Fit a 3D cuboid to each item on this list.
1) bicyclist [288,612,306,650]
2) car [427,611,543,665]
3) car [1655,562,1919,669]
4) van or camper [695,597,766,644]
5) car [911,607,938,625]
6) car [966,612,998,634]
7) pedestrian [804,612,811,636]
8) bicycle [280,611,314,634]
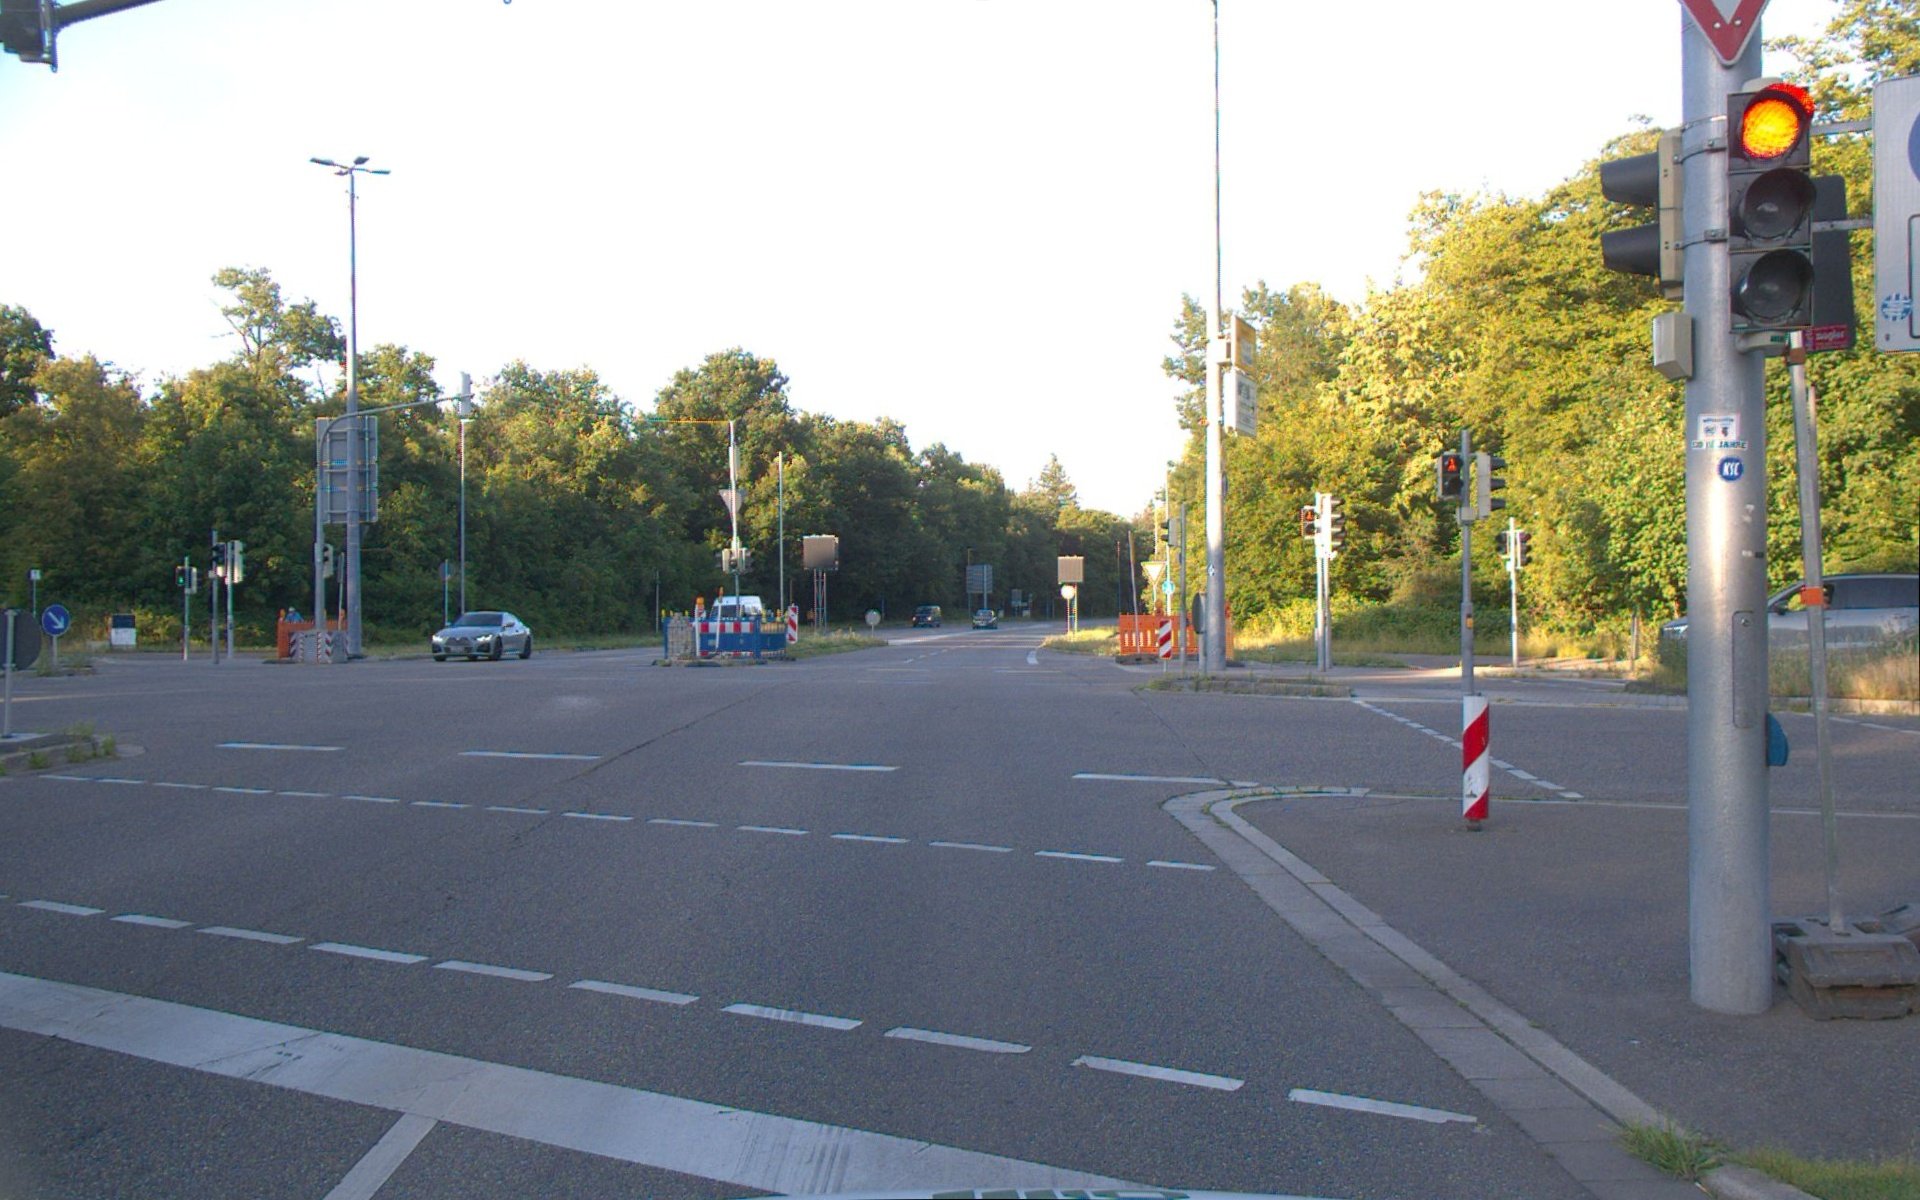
[{"bbox_3d":[-24.885,1.170,62.055,0.515,1.411,0.401,0,0,-42],"label":"bicyclist"},{"bbox_3d":[-13.789,1.064,48.312,1.851,1.466,4.502,0,0,3],"label":"car"},{"bbox_3d":[13.742,0.244,26.489,4.716,1.626,2.000,-1,0,21],"label":"car"},{"bbox_3d":[-13.521,1.166,97.845,2.825,2.699,7.125,0,0,3],"label":"van or camper"},{"bbox_3d":[-3.312,1.537,156.848,1.951,1.668,4.003,0,0,8],"label":"car"},{"bbox_3d":[1.884,1.884,138.326,1.951,1.668,4.004,-2,1,11],"label":"car"},{"bbox_3d":[-12.934,2.030,140.449,0.511,2.049,0.600,1,-1,-1],"label":"pedestrian"},{"bbox_3d":[-24.881,0.830,62.061,1.096,0.840,0.407,0,0,-42],"label":"bicycle"}]
